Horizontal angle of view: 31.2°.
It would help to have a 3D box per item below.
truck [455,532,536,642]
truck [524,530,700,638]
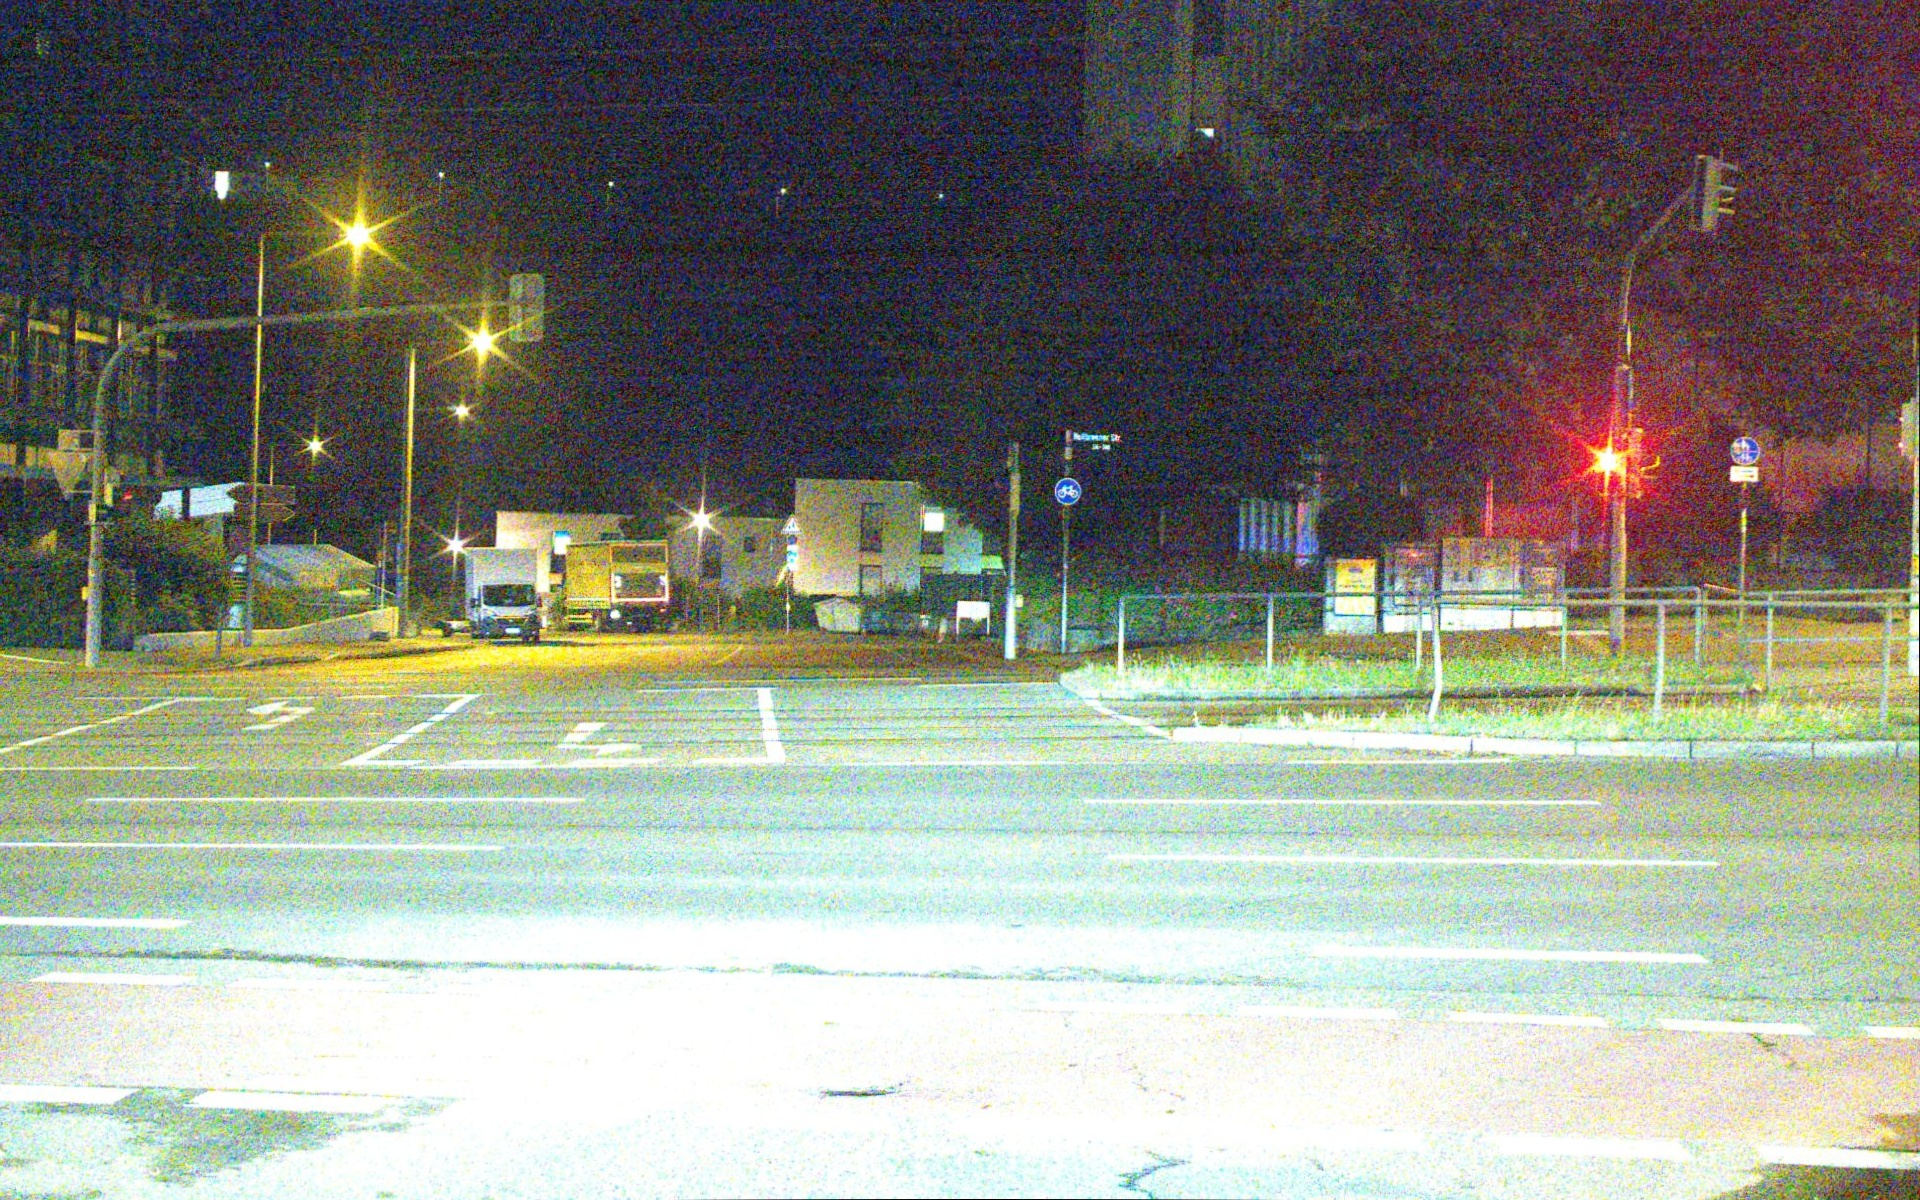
[{"bbox_3d":[-16.107,-0.469,119.041,2.582,3.694,5.739,1,1,-9],"label":"truck"},{"bbox_3d":[-15.437,-0.759,151.244,4.821,4.531,12.669,1,1,-19],"label":"truck"}]
